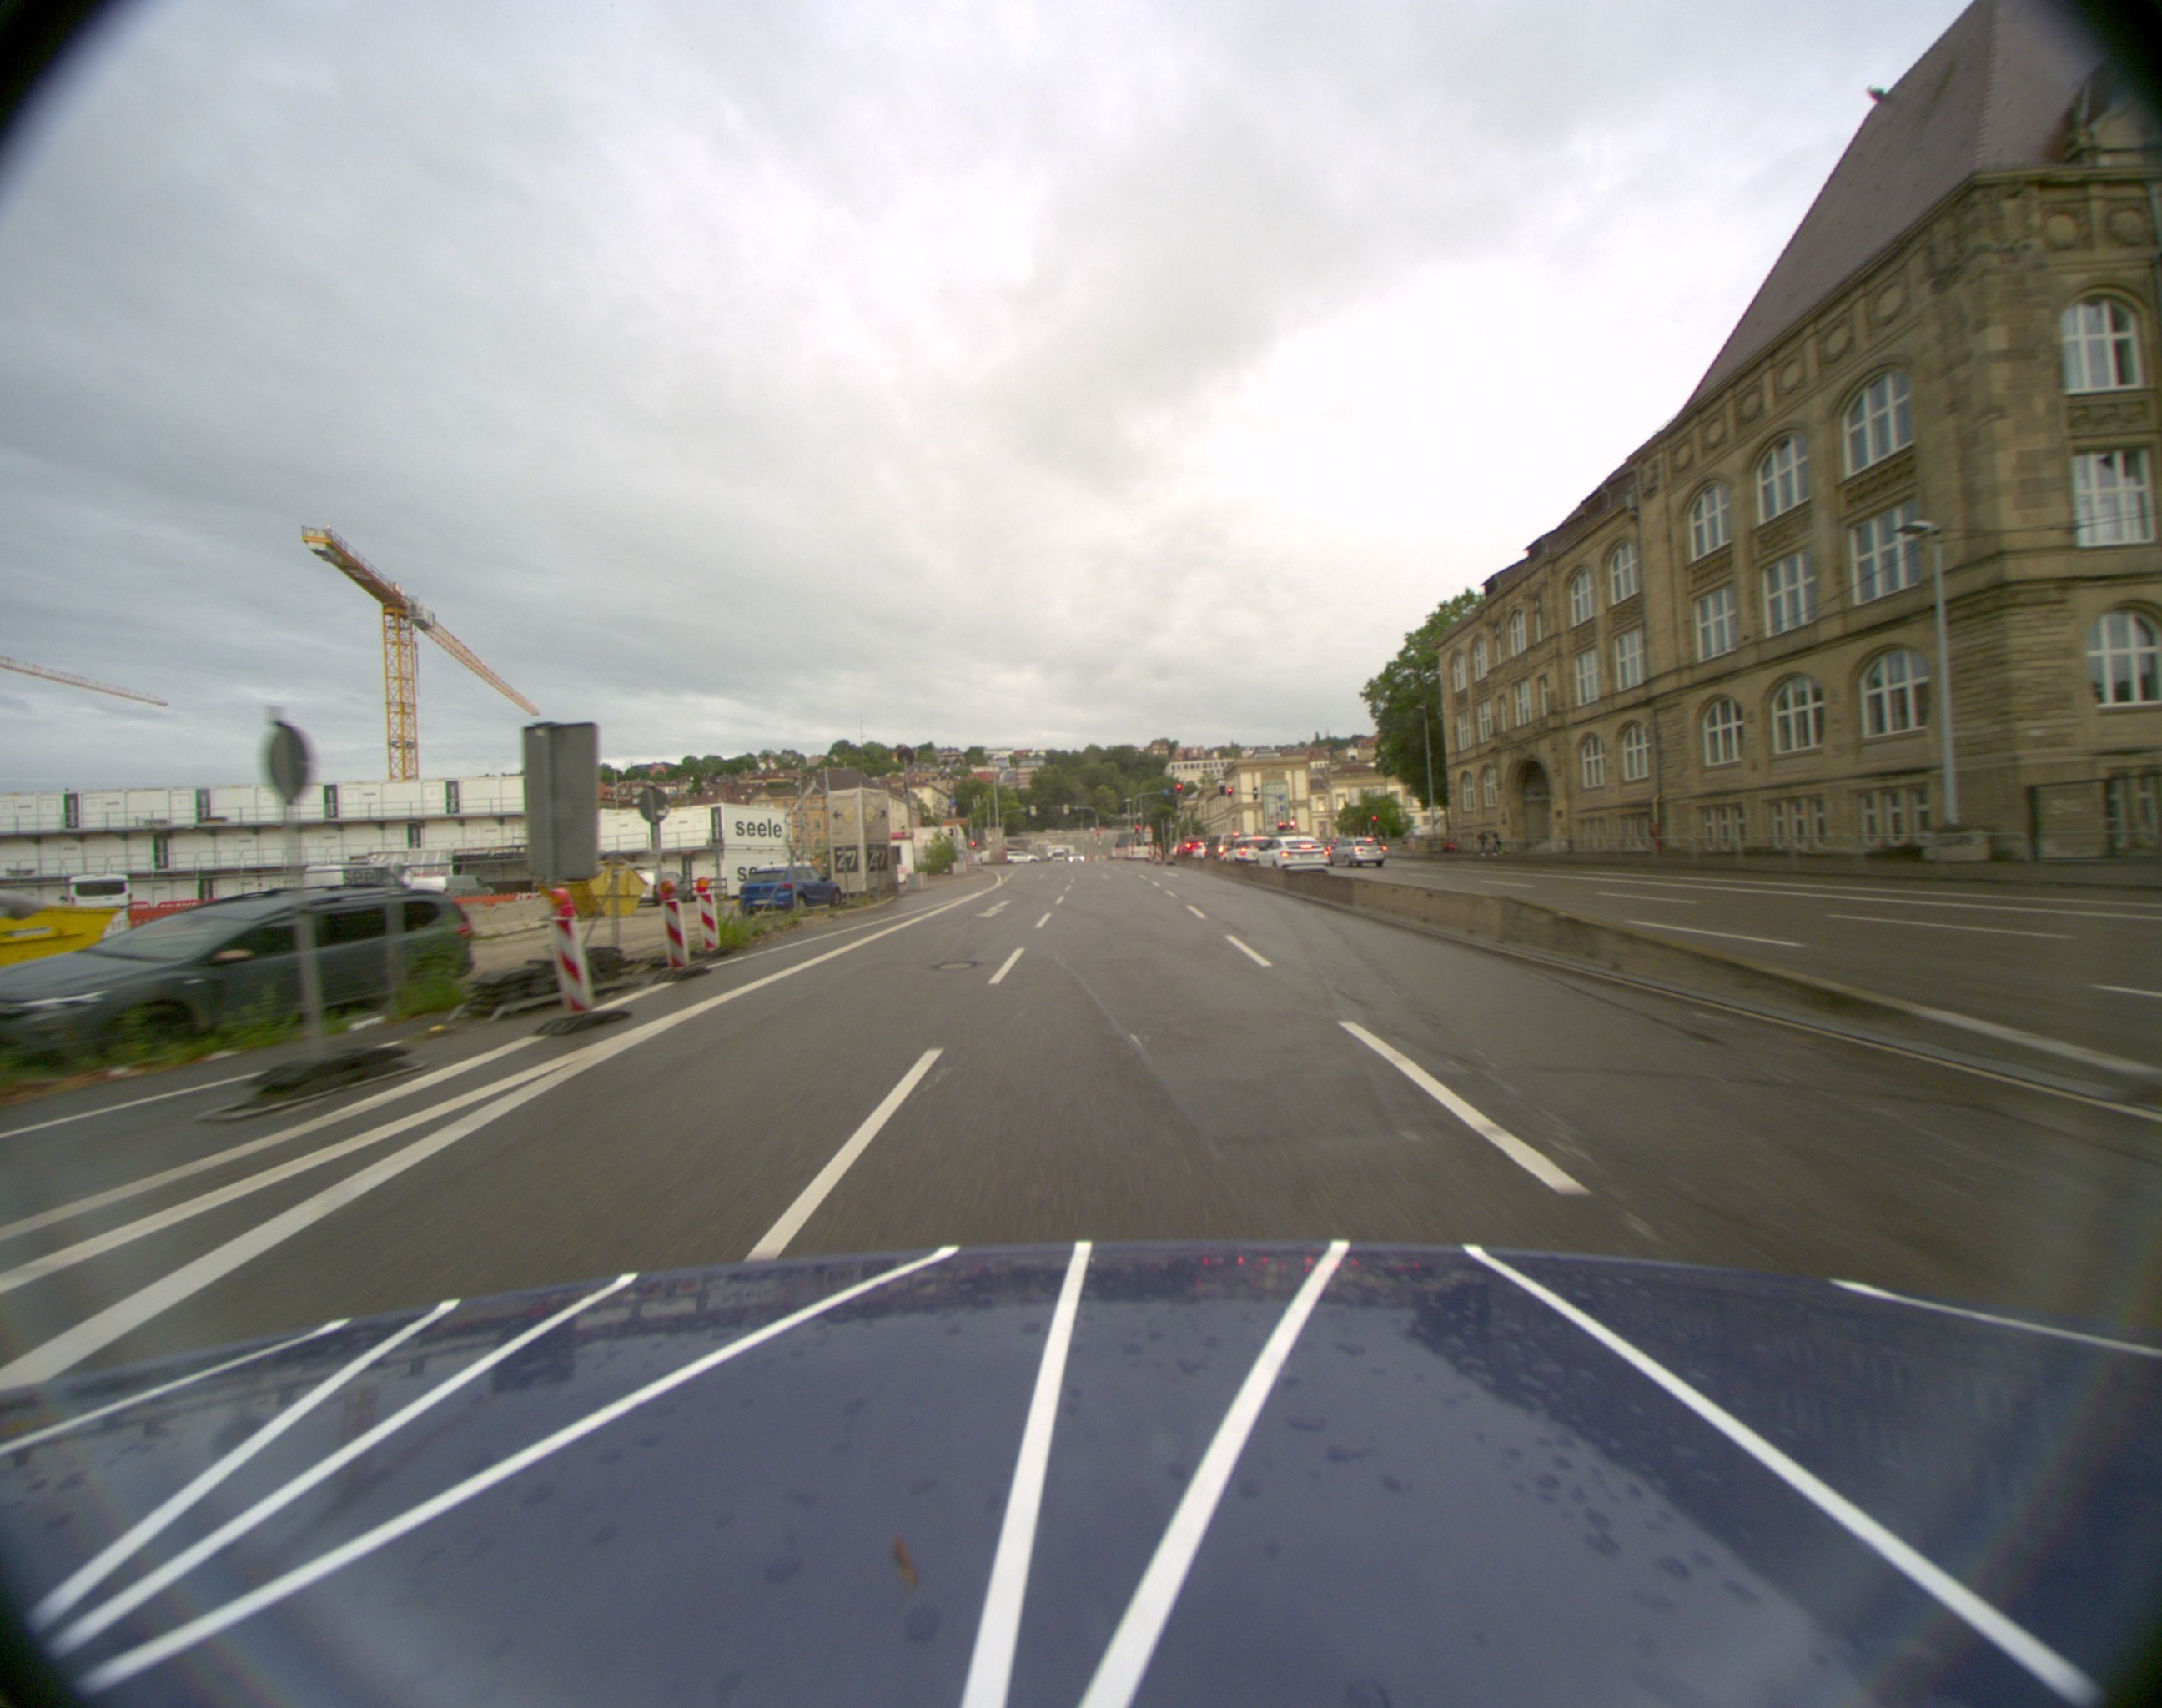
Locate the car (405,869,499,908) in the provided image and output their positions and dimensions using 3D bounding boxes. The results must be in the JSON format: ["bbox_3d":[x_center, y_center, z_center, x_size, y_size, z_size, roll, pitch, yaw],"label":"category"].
[{"bbox_3d":[-35.370,1.897,42.921,2.001,1.877,4.977,-1,1,-13],"label":"car"}]

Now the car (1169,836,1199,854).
[{"bbox_3d":[8.698,-0.786,64.614,1.998,1.463,4.560,-1,1,1],"label":"car"}]

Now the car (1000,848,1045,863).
[{"bbox_3d":[-6.338,0.121,82.328,4.563,1.463,1.997,-2,1,-15],"label":"car"}]

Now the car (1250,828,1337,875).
[{"bbox_3d":[7.846,-0.135,28.588,1.898,1.558,4.897,-2,1,0],"label":"car"}]

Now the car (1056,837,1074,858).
[{"bbox_3d":[-3.147,-1.265,151.251,2.836,3.991,8.724,-1,1,3],"label":"car"}]

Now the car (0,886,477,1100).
[{"bbox_3d":[-10.406,1.398,9.408,1.925,1.640,4.415,2,2,9],"label":"car"}]

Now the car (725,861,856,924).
[{"bbox_3d":[-8.618,1.078,23.022,1.836,1.433,4.413,-5,1,5],"label":"car"}]

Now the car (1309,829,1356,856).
[{"bbox_3d":[19.662,-0.913,59.624,1.999,2.002,3.997,-2,1,-6],"label":"car"}]

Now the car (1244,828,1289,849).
[{"bbox_3d":[13.091,-1.107,53.770,1.999,1.374,4.210,-2,1,-2],"label":"car"}]

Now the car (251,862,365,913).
[{"bbox_3d":[-43.039,1.773,42.514,2.001,2.545,4.977,-1,1,-13],"label":"car"}]

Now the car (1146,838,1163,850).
[{"bbox_3d":[10.175,-1.412,105.108,1.998,1.463,4.560,-1,1,1],"label":"car"}]

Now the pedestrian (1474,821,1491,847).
[{"bbox_3d":[24.547,-1.234,46.465,0.618,1.575,0.735,-1,2,2],"label":"pedestrian"}]

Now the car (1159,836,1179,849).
[{"bbox_3d":[10.654,-1.425,92.445,1.998,1.463,4.560,-1,1,1],"label":"car"}]

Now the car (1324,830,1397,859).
[{"bbox_3d":[14.306,-0.508,39.158,1.999,1.374,4.209,-2,1,-4],"label":"car"}]

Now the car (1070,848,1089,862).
[{"bbox_3d":[-0.214,0.114,97.620,1.999,1.561,3.997,-2,1,-5],"label":"car"}]

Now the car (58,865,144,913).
[{"bbox_3d":[-52.529,1.814,40.720,4.390,2.370,2.154,-1,2,30],"label":"car"}]

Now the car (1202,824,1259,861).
[{"bbox_3d":[8.135,-0.652,41.857,1.998,1.856,5.594,-2,1,0],"label":"car"}]

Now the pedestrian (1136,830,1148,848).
[{"bbox_3d":[5.922,-1.469,73.755,0.785,1.700,0.760,-2,2,-22],"label":"pedestrian"}]

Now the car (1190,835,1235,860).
[{"bbox_3d":[8.428,-0.469,49.249,1.999,1.493,4.820,-2,1,-1],"label":"car"}]

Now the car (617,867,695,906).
[{"bbox_3d":[-23.290,1.726,41.853,2.019,1.890,4.650,-2,1,-7],"label":"car"}]

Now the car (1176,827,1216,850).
[{"bbox_3d":[8.285,-1.142,55.250,1.999,1.558,5.380,-2,1,-1],"label":"car"}]

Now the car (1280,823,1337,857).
[{"bbox_3d":[13.989,-0.860,46.936,1.999,2.002,3.997,-2,1,-6],"label":"car"}]

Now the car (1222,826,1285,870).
[{"bbox_3d":[7.934,-0.293,35.283,1.914,1.856,4.377,-2,1,0],"label":"car"}]

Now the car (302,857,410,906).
[{"bbox_3d":[-40.600,1.470,42.726,2.001,2.428,4.977,-2,1,-13],"label":"car"}]

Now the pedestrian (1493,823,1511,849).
[{"bbox_3d":[25.536,-1.086,46.121,0.618,1.575,0.734,-2,2,-5],"label":"pedestrian"}]
